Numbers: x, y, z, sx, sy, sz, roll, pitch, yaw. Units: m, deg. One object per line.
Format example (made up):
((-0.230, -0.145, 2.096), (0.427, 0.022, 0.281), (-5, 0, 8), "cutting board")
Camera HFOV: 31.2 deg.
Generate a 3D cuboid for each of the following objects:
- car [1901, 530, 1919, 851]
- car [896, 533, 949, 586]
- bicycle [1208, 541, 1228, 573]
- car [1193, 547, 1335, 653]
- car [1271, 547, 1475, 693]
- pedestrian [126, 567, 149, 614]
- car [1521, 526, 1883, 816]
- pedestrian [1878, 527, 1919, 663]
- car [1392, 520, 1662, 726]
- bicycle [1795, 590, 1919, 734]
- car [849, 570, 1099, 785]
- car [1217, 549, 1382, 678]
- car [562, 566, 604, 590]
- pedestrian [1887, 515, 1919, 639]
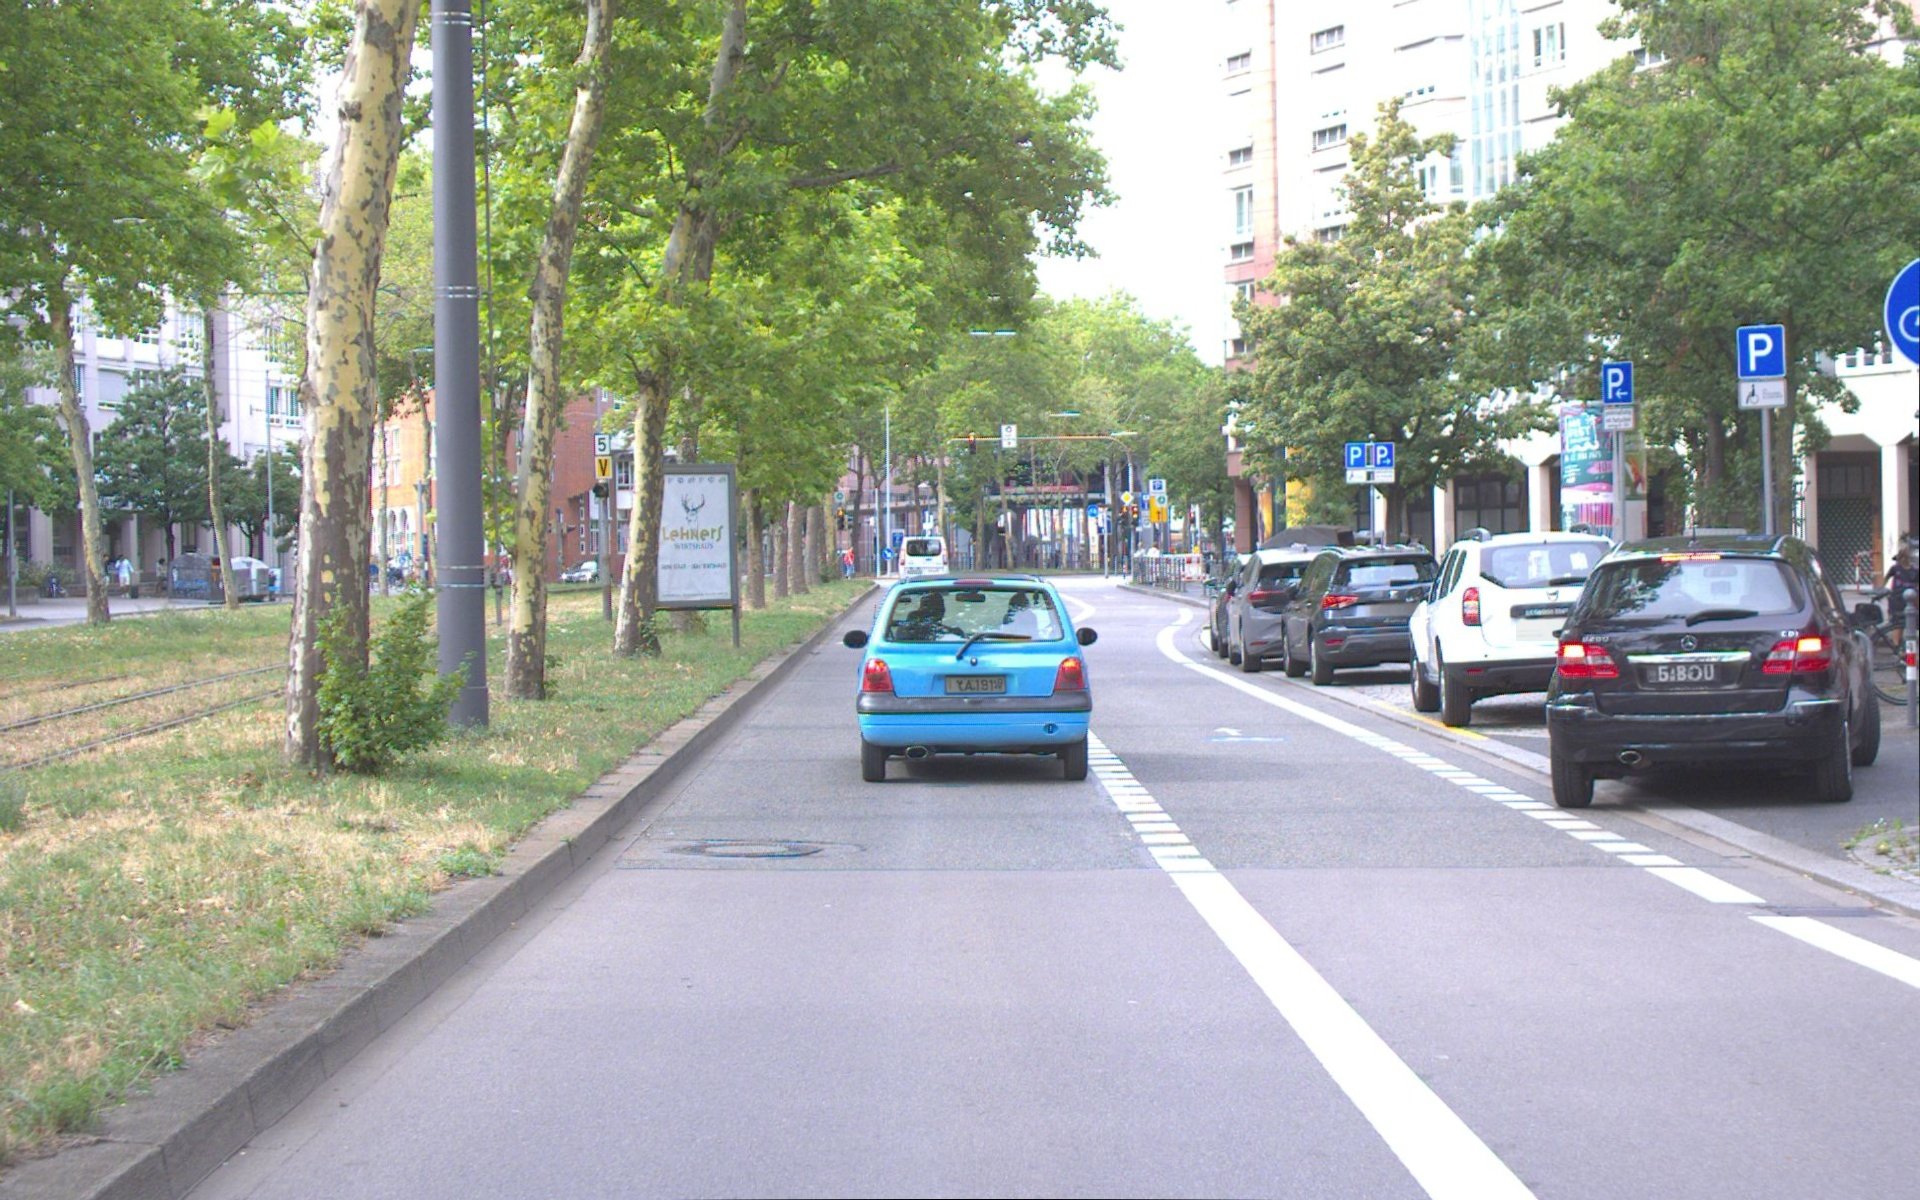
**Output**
((5.316, 0.470, 12.670), (1.994, 1.597, 4.584), (-4, 1, -5), "car")
((-1.385, -1.533, 129.490), (1.931, 1.919, 4.956), (-1, 1, 0), "car")
((9.313, -1.554, 123.894), (0.612, 1.114, 1.804), (-1, 1, 7), "bicycle")
((4.452, -0.036, 50.932), (1.817, 1.437, 4.665), (-2, 1, 2), "car")
((4.719, 0.184, 39.777), (1.715, 1.513, 4.204), (-3, 1, -1), "car")
((-30.349, -0.362, 126.862), (0.552, 1.699, 0.884), (-1, 1, 5), "pedestrian")
((4.827, 0.380, 21.932), (1.776, 1.571, 4.301), (-3, 1, 18), "car")
((10.315, -0.064, 37.635), (0.411, 1.474, 0.503), (-1, 1, 6), "pedestrian")
((4.972, 0.152, 30.642), (1.861, 1.647, 4.163), (-2, 1, 3), "car")
((6.952, 0.458, 26.394), (0.605, 1.026, 1.866), (-1, 1, 0), "bicycle")
((0.108, 0.496, 24.585), (1.640, 1.381, 3.843), (0, 1, 0), "car")
((4.380, 0.137, 44.920), (1.740, 1.513, 4.401), (-2, 1, 1), "car")
((-19.716, -1.161, 180.057), (1.729, 1.241, 4.535), (-1, 1, -1), "car")
((12.238, -0.303, 43.776), (0.745, 1.564, 0.764), (-1, 1, 10), "pedestrian")
